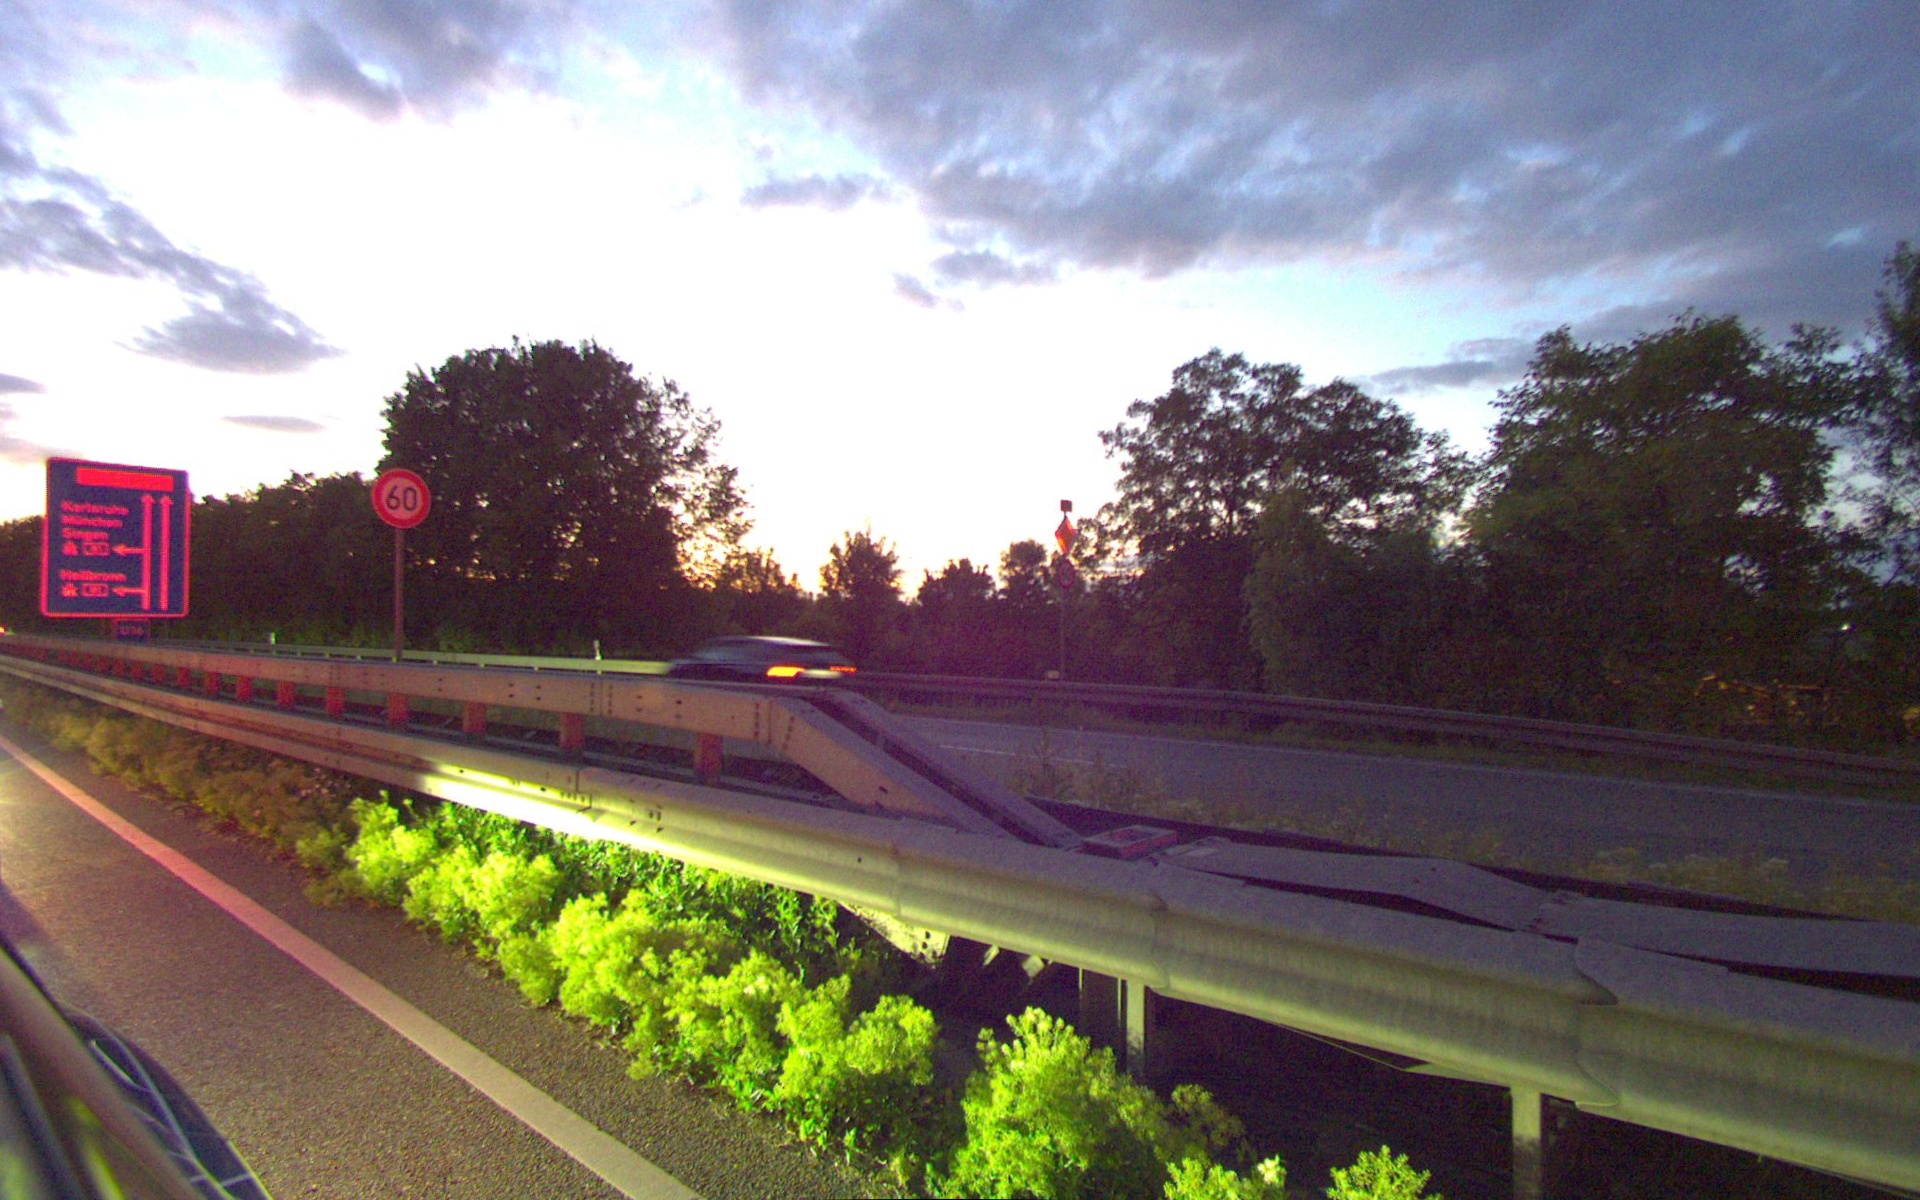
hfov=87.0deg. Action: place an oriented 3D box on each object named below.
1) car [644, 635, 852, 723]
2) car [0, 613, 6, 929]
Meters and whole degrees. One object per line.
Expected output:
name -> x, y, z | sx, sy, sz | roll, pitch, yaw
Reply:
car -> -4.239, 1.461, 19.808 | 4.590, 1.516, 1.611 | -1, -3, 43
car -> -6.722, 0.868, 5.560 | 4.645, 1.447, 1.795 | -2, -1, 42
